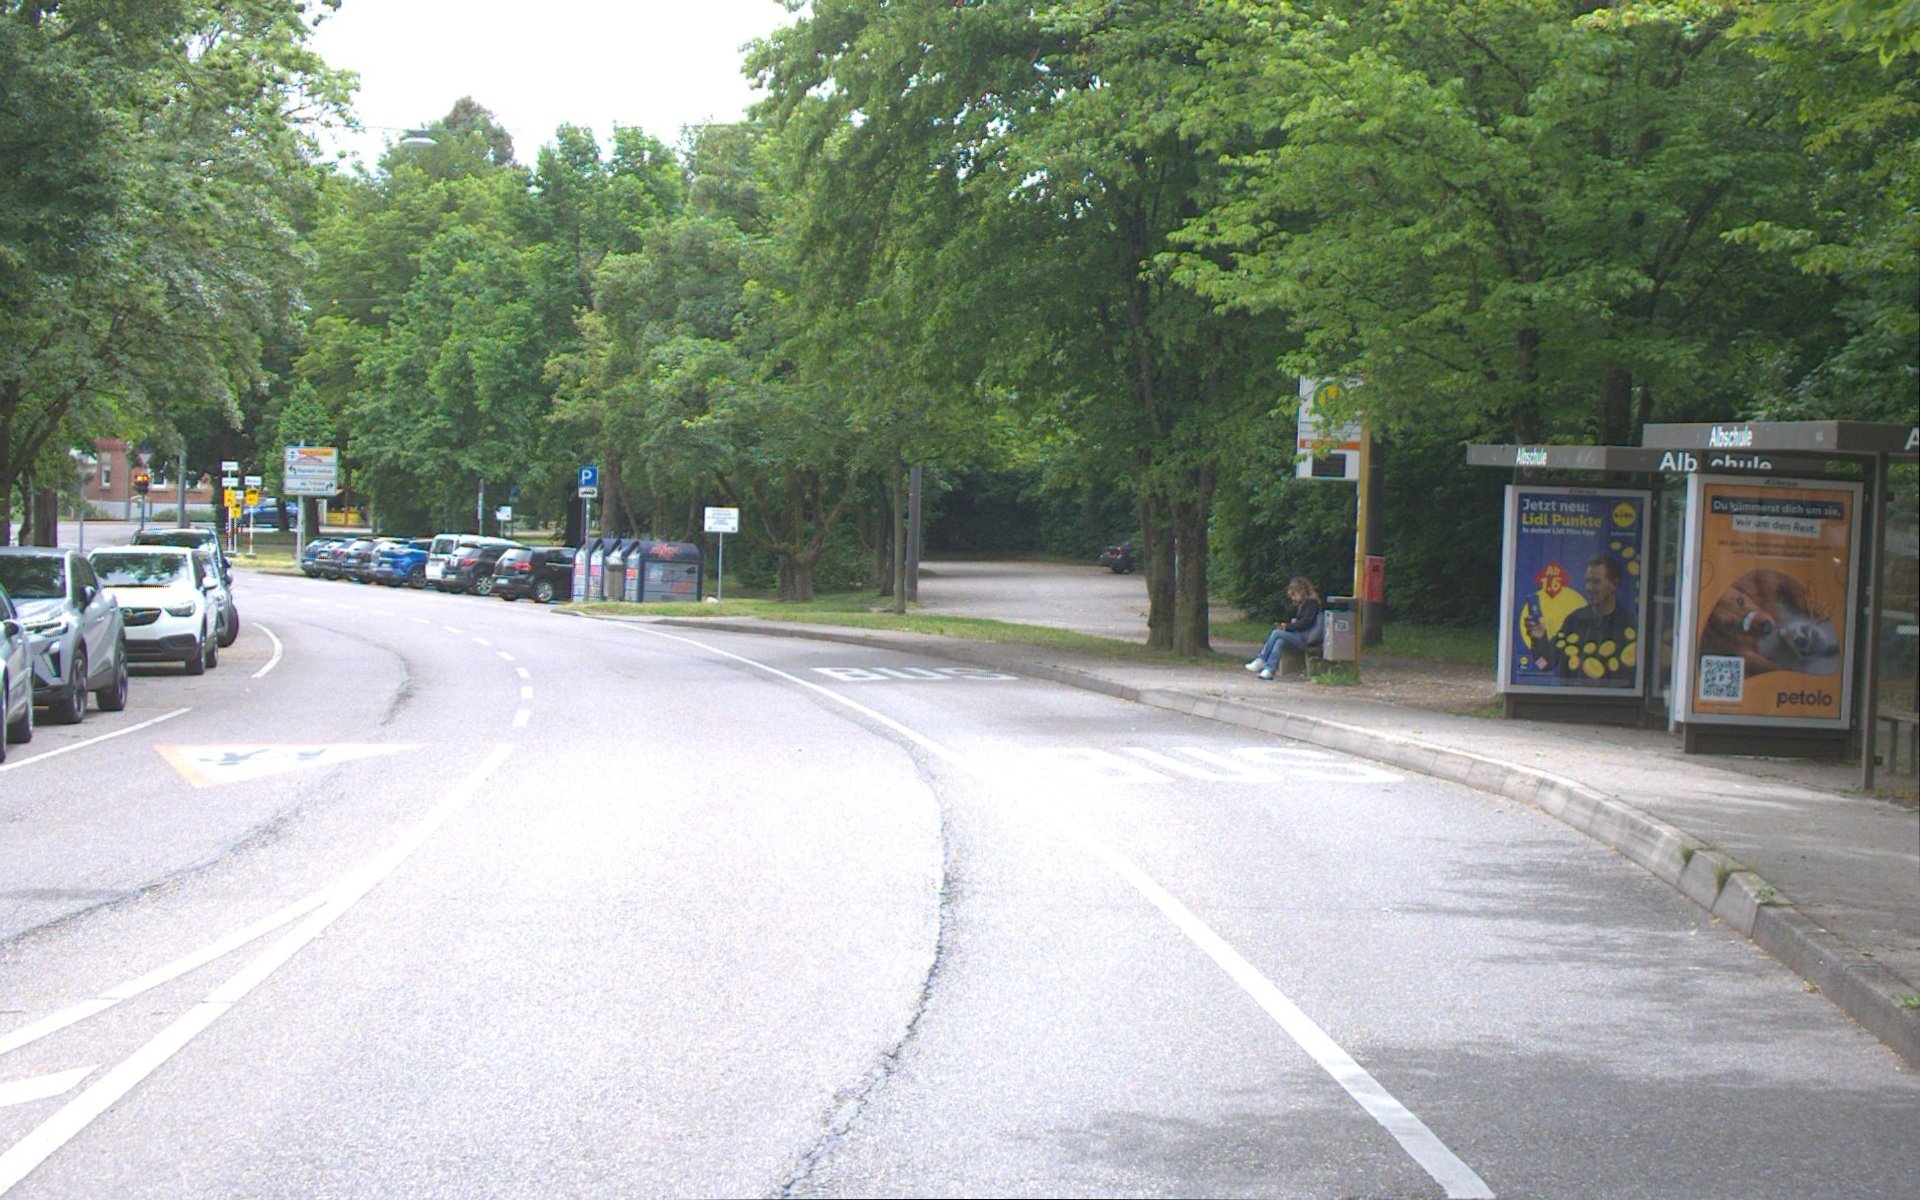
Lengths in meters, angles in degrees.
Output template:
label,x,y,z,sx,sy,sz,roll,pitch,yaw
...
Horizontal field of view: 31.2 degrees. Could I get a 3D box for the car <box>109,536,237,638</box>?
label,x,y,z,sx,sy,sz,roll,pitch,yaw
car,-12.489,-0.231,54.735,1.865,1.533,4.228,1,1,-11

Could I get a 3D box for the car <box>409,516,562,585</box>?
label,x,y,z,sx,sy,sz,roll,pitch,yaw
car,-13.539,-1.399,98.248,3.819,1.714,1.878,4,-1,-38

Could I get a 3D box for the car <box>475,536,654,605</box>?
label,x,y,z,sx,sy,sz,roll,pitch,yaw
car,-10.080,-0.749,87.717,3.988,1.409,2.057,4,1,-38

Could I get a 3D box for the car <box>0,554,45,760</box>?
label,x,y,z,sx,sy,sz,roll,pitch,yaw
car,-7.914,0.368,25.864,1.735,1.411,4.473,0,1,-12

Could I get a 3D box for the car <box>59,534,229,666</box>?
label,x,y,z,sx,sy,sz,roll,pitch,yaw
car,-10.239,-0.040,43.371,1.735,1.573,4.142,0,1,-8

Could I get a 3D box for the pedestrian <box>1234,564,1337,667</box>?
label,x,y,z,sx,sy,sz,roll,pitch,yaw
pedestrian,3.787,0.179,40.023,1.063,1.178,0.580,1,1,-11

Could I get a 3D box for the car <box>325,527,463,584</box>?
label,x,y,z,sx,sy,sz,roll,pitch,yaw
car,-17.618,-1.381,107.053,3.819,1.523,1.746,4,-1,-38

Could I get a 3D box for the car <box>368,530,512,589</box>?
label,x,y,z,sx,sy,sz,roll,pitch,yaw
car,-15.509,-1.204,102.678,3.819,1.523,1.746,4,-1,-38

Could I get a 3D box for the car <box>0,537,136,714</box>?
label,x,y,z,sx,sy,sz,roll,pitch,yaw
car,-8.785,0.182,31.726,1.735,1.533,4.190,0,1,-5

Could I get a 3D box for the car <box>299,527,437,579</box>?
label,x,y,z,sx,sy,sz,roll,pitch,yaw
car,-18.937,-1.503,109.984,3.874,1.421,1.830,4,-1,-38

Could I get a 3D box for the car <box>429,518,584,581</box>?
label,x,y,z,sx,sy,sz,roll,pitch,yaw
car,-12.626,-1.403,95.771,3.819,1.463,1.746,4,0,-38

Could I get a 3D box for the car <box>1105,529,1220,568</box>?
label,x,y,z,sx,sy,sz,roll,pitch,yaw
car,7.689,-1.951,130.861,3.986,1.405,1.801,1,1,-13
